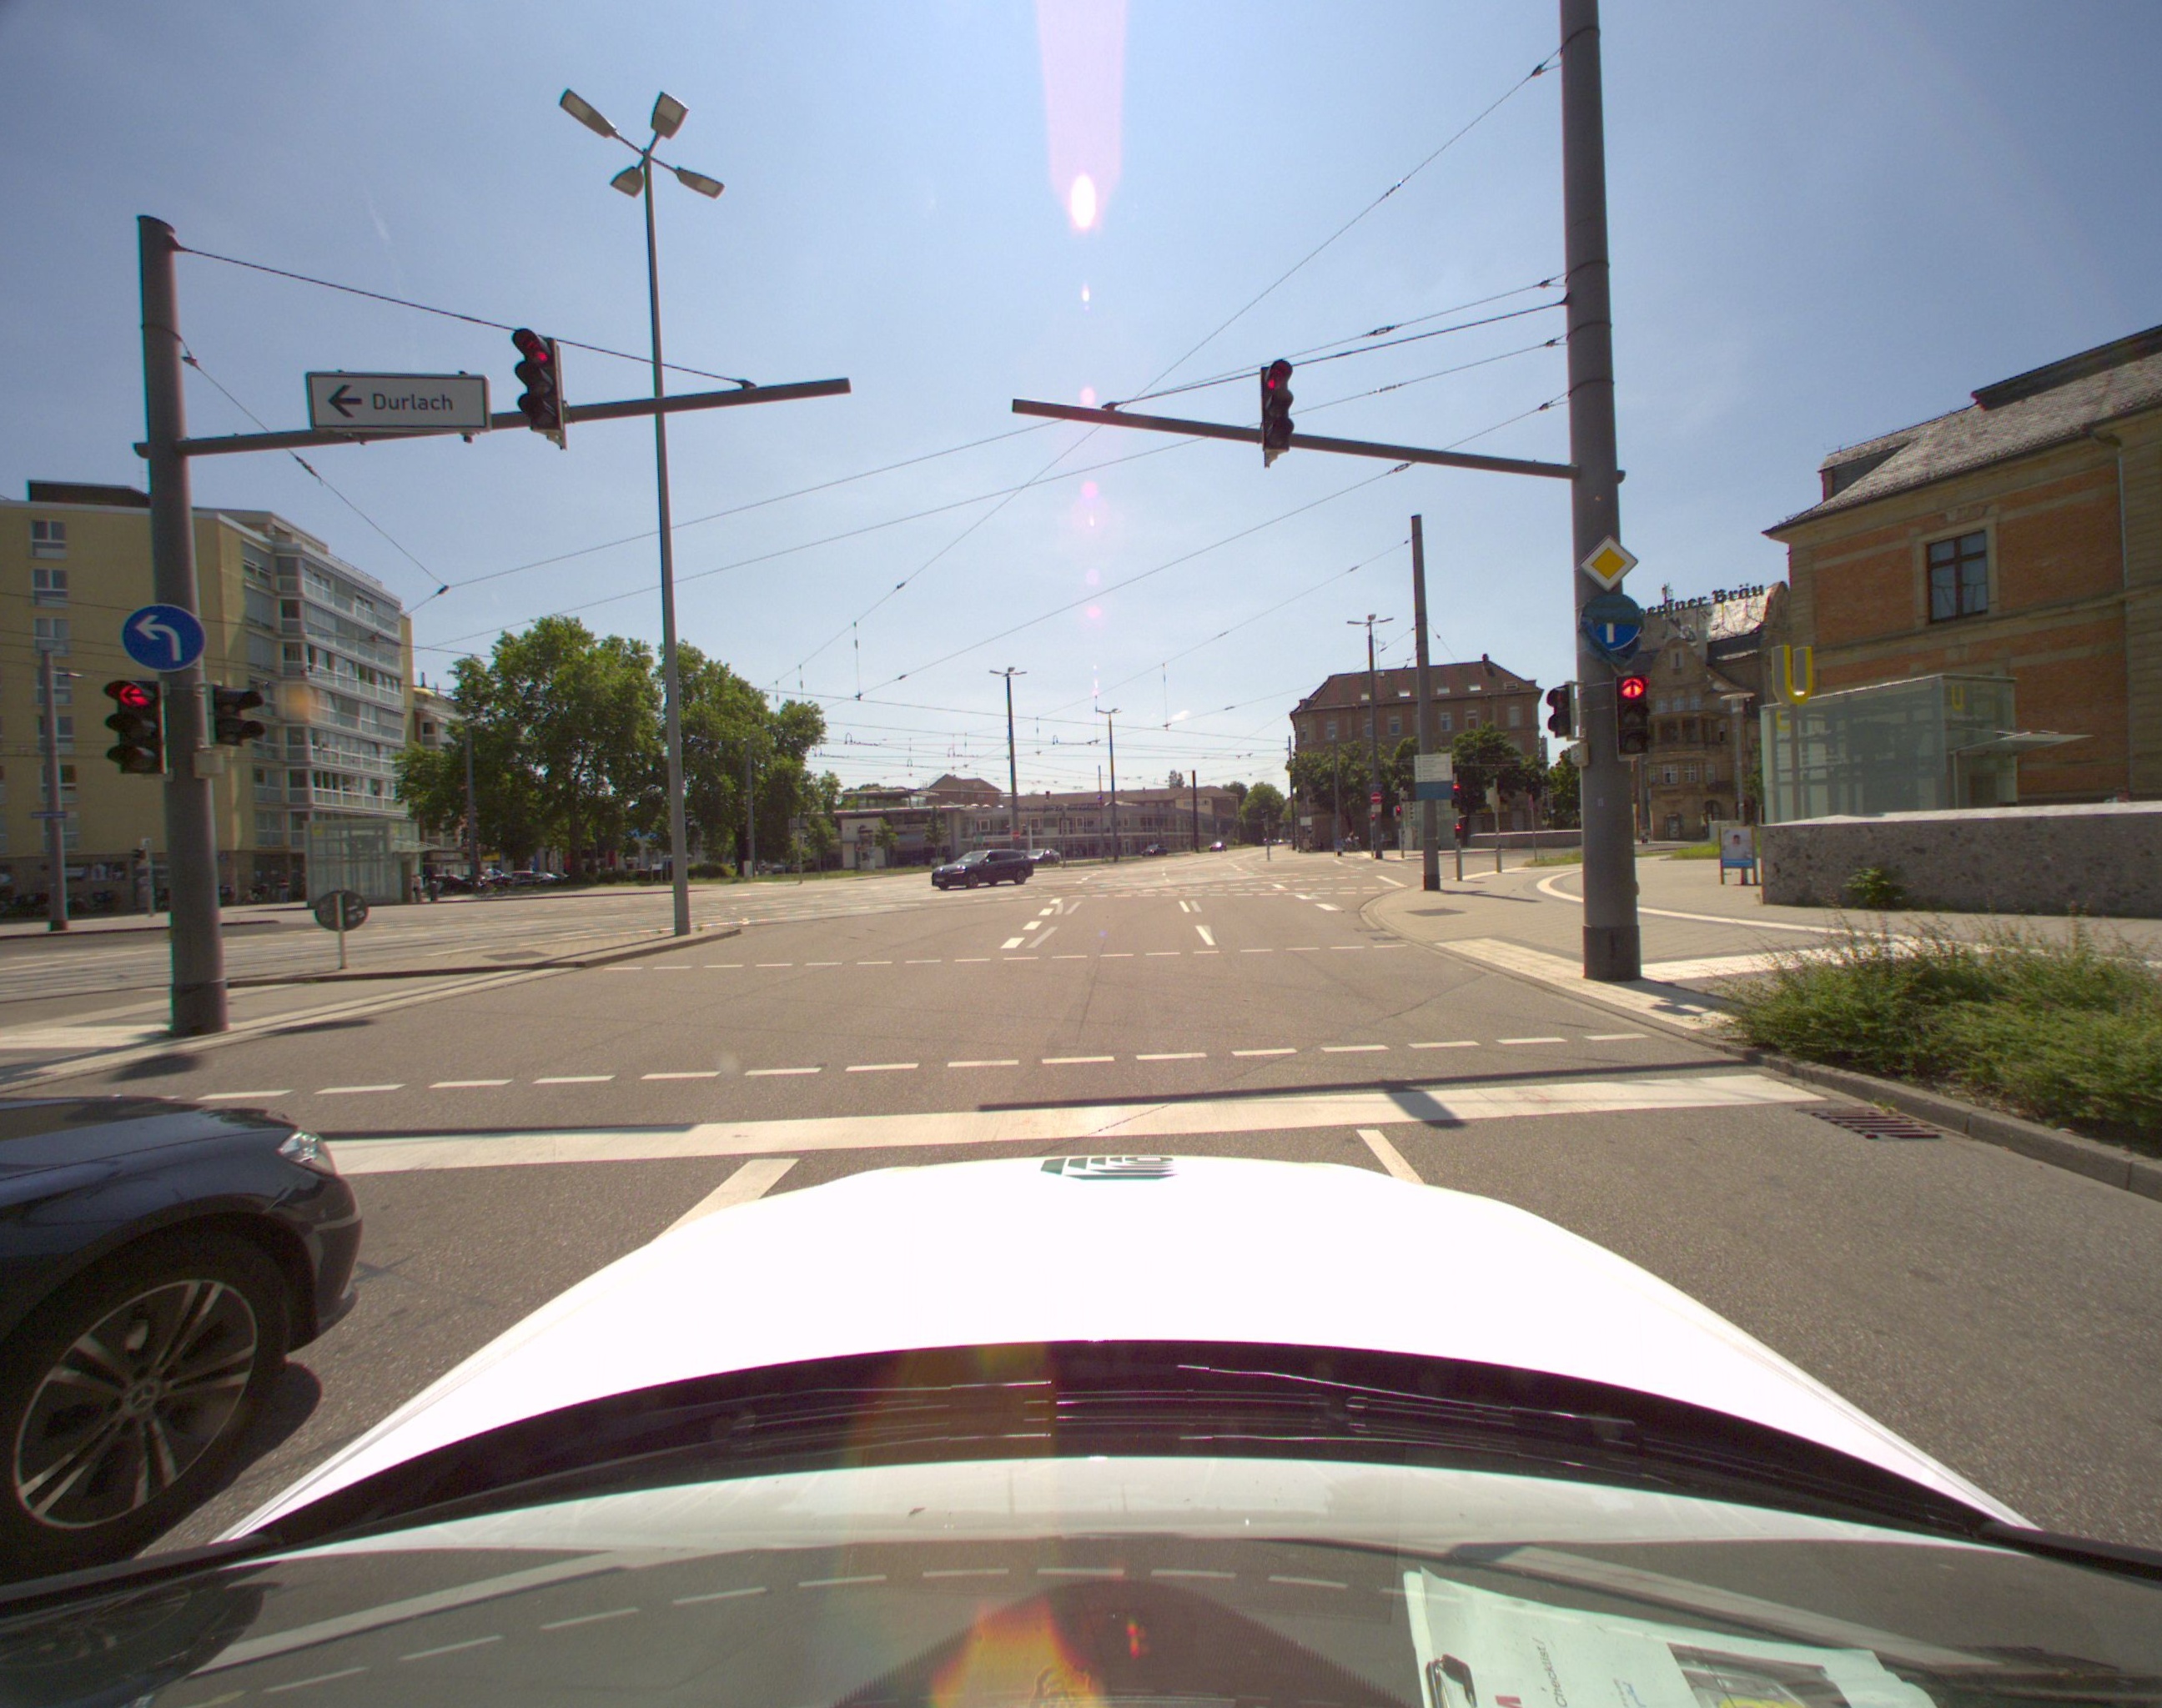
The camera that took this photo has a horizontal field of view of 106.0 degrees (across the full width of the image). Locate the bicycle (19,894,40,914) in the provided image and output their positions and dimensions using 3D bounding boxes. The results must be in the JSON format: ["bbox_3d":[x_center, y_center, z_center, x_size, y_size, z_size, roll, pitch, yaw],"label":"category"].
[{"bbox_3d":[-57.412,2.701,44.461,0.435,1.026,1.426,-2,0,-42],"label":"bicycle"}]

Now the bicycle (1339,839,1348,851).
[{"bbox_3d":[25.515,-0.881,79.141,0.440,1.146,2.099,-1,-1,9],"label":"bicycle"}]

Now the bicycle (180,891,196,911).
[{"bbox_3d":[-50.812,2.669,46.331,0.435,1.026,1.426,-2,0,-42],"label":"bicycle"}]

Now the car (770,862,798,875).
[{"bbox_3d":[-37.452,1.796,102.732,1.760,1.510,4.330,-2,0,3],"label":"car"}]

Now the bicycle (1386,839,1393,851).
[{"bbox_3d":[29.674,-0.865,78.304,0.546,1.120,1.879,-2,0,18],"label":"bicycle"}]

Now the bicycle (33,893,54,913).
[{"bbox_3d":[-56.924,2.699,44.697,0.435,1.026,1.426,-2,0,-42],"label":"bicycle"}]

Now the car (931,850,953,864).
[{"bbox_3d":[-17.174,0.406,100.755,1.913,1.707,4.002,0,-1,2],"label":"car"}]

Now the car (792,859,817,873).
[{"bbox_3d":[-34.719,1.486,102.395,1.763,1.510,4.322,-2,0,-3],"label":"car"}]

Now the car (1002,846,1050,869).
[{"bbox_3d":[-4.320,0.221,64.685,1.977,1.637,4.870,-2,0,19],"label":"car"}]

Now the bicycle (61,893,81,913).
[{"bbox_3d":[-55.920,2.695,45.092,0.435,1.026,1.426,-2,0,-42],"label":"bicycle"}]

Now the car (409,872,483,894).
[{"bbox_3d":[-49.326,2.243,63.344,3.996,1.420,1.989,-2,0,-17],"label":"car"}]

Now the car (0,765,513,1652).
[{"bbox_3d":[-2.953,0.674,0.404,1.790,1.640,4.808,-1,0,2],"label":"car"}]

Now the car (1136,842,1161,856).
[{"bbox_3d":[8.757,-0.693,104.945,2.061,1.682,4.870,-2,0,19],"label":"car"}]

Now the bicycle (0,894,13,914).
[{"bbox_3d":[-58.467,2.706,44.151,0.435,1.026,1.426,-2,0,-42],"label":"bicycle"}]

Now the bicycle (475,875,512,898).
[{"bbox_3d":[-33.241,1.818,46.078,1.508,1.216,0.713,-2,0,-16],"label":"bicycle"}]

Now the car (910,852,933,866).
[{"bbox_3d":[-19.711,0.623,100.969,1.913,1.707,4.002,0,-1,2],"label":"car"}]

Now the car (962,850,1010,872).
[{"bbox_3d":[-7.493,0.516,64.650,2.061,1.580,4.866,-2,0,15],"label":"car"}]

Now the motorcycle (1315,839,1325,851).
[{"bbox_3d":[23.127,-0.852,78.853,0.577,1.074,1.949,-2,0,6],"label":"motorcycle"}]

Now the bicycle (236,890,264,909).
[{"bbox_3d":[-49.285,2.673,48.306,0.432,1.026,1.437,-2,0,-14],"label":"bicycle"}]

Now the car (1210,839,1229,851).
[{"bbox_3d":[21.108,-1.402,123.897,1.975,1.776,4.022,-1,-1,24],"label":"car"}]

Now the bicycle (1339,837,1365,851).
[{"bbox_3d":[22.743,-0.860,68.287,2.115,1.052,0.687,-2,0,-23],"label":"bicycle"}]

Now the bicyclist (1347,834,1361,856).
[{"bbox_3d":[22.879,-0.749,68.320,1.065,1.808,0.475,0,-1,-23],"label":"bicyclist"}]

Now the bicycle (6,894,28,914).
[{"bbox_3d":[-57.868,2.703,44.302,0.435,1.026,1.426,-2,0,-42],"label":"bicycle"}]

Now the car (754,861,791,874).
[{"bbox_3d":[-41.076,1.808,108.484,4.343,1.510,1.754,-3,0,-33],"label":"car"}]

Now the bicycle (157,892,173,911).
[{"bbox_3d":[-51.699,2.672,45.973,0.435,1.026,1.426,-2,0,-42],"label":"bicycle"}]

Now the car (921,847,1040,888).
[{"bbox_3d":[-4.018,0.529,33.448,1.974,1.465,4.877,-2,0,36],"label":"car"}]

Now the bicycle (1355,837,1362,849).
[{"bbox_3d":[26.711,-1.098,78.344,0.546,1.120,1.830,-2,0,22],"label":"bicycle"}]

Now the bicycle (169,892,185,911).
[{"bbox_3d":[-51.234,2.670,46.142,0.435,1.026,1.426,-2,0,-42],"label":"bicycle"}]

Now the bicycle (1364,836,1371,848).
[{"bbox_3d":[27.486,-1.146,78.270,0.546,1.120,1.829,-2,0,18],"label":"bicycle"}]

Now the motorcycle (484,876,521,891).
[{"bbox_3d":[-39.353,2.002,55.430,1.925,0.961,0.521,-2,0,-29],"label":"motorcycle"}]

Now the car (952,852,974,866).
[{"bbox_3d":[-14.532,0.582,100.493,1.913,1.707,4.002,0,-1,2],"label":"car"}]

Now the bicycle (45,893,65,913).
[{"bbox_3d":[-56.418,2.696,44.771,0.435,1.026,1.426,-2,0,-42],"label":"bicycle"}]

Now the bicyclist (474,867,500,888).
[{"bbox_3d":[-33.550,1.308,45.994,0.927,1.142,0.713,-2,0,-15],"label":"bicyclist"}]

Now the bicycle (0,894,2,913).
[{"bbox_3d":[-58.938,2.708,44.024,0.435,1.026,1.426,-2,0,-42],"label":"bicycle"}]

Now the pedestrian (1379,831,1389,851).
[{"bbox_3d":[26.700,-1.121,71.832,0.464,1.708,0.634,-2,0,-30],"label":"pedestrian"}]

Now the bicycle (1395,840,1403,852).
[{"bbox_3d":[30.532,-0.820,78.116,0.546,1.120,1.938,-2,0,18],"label":"bicycle"}]
